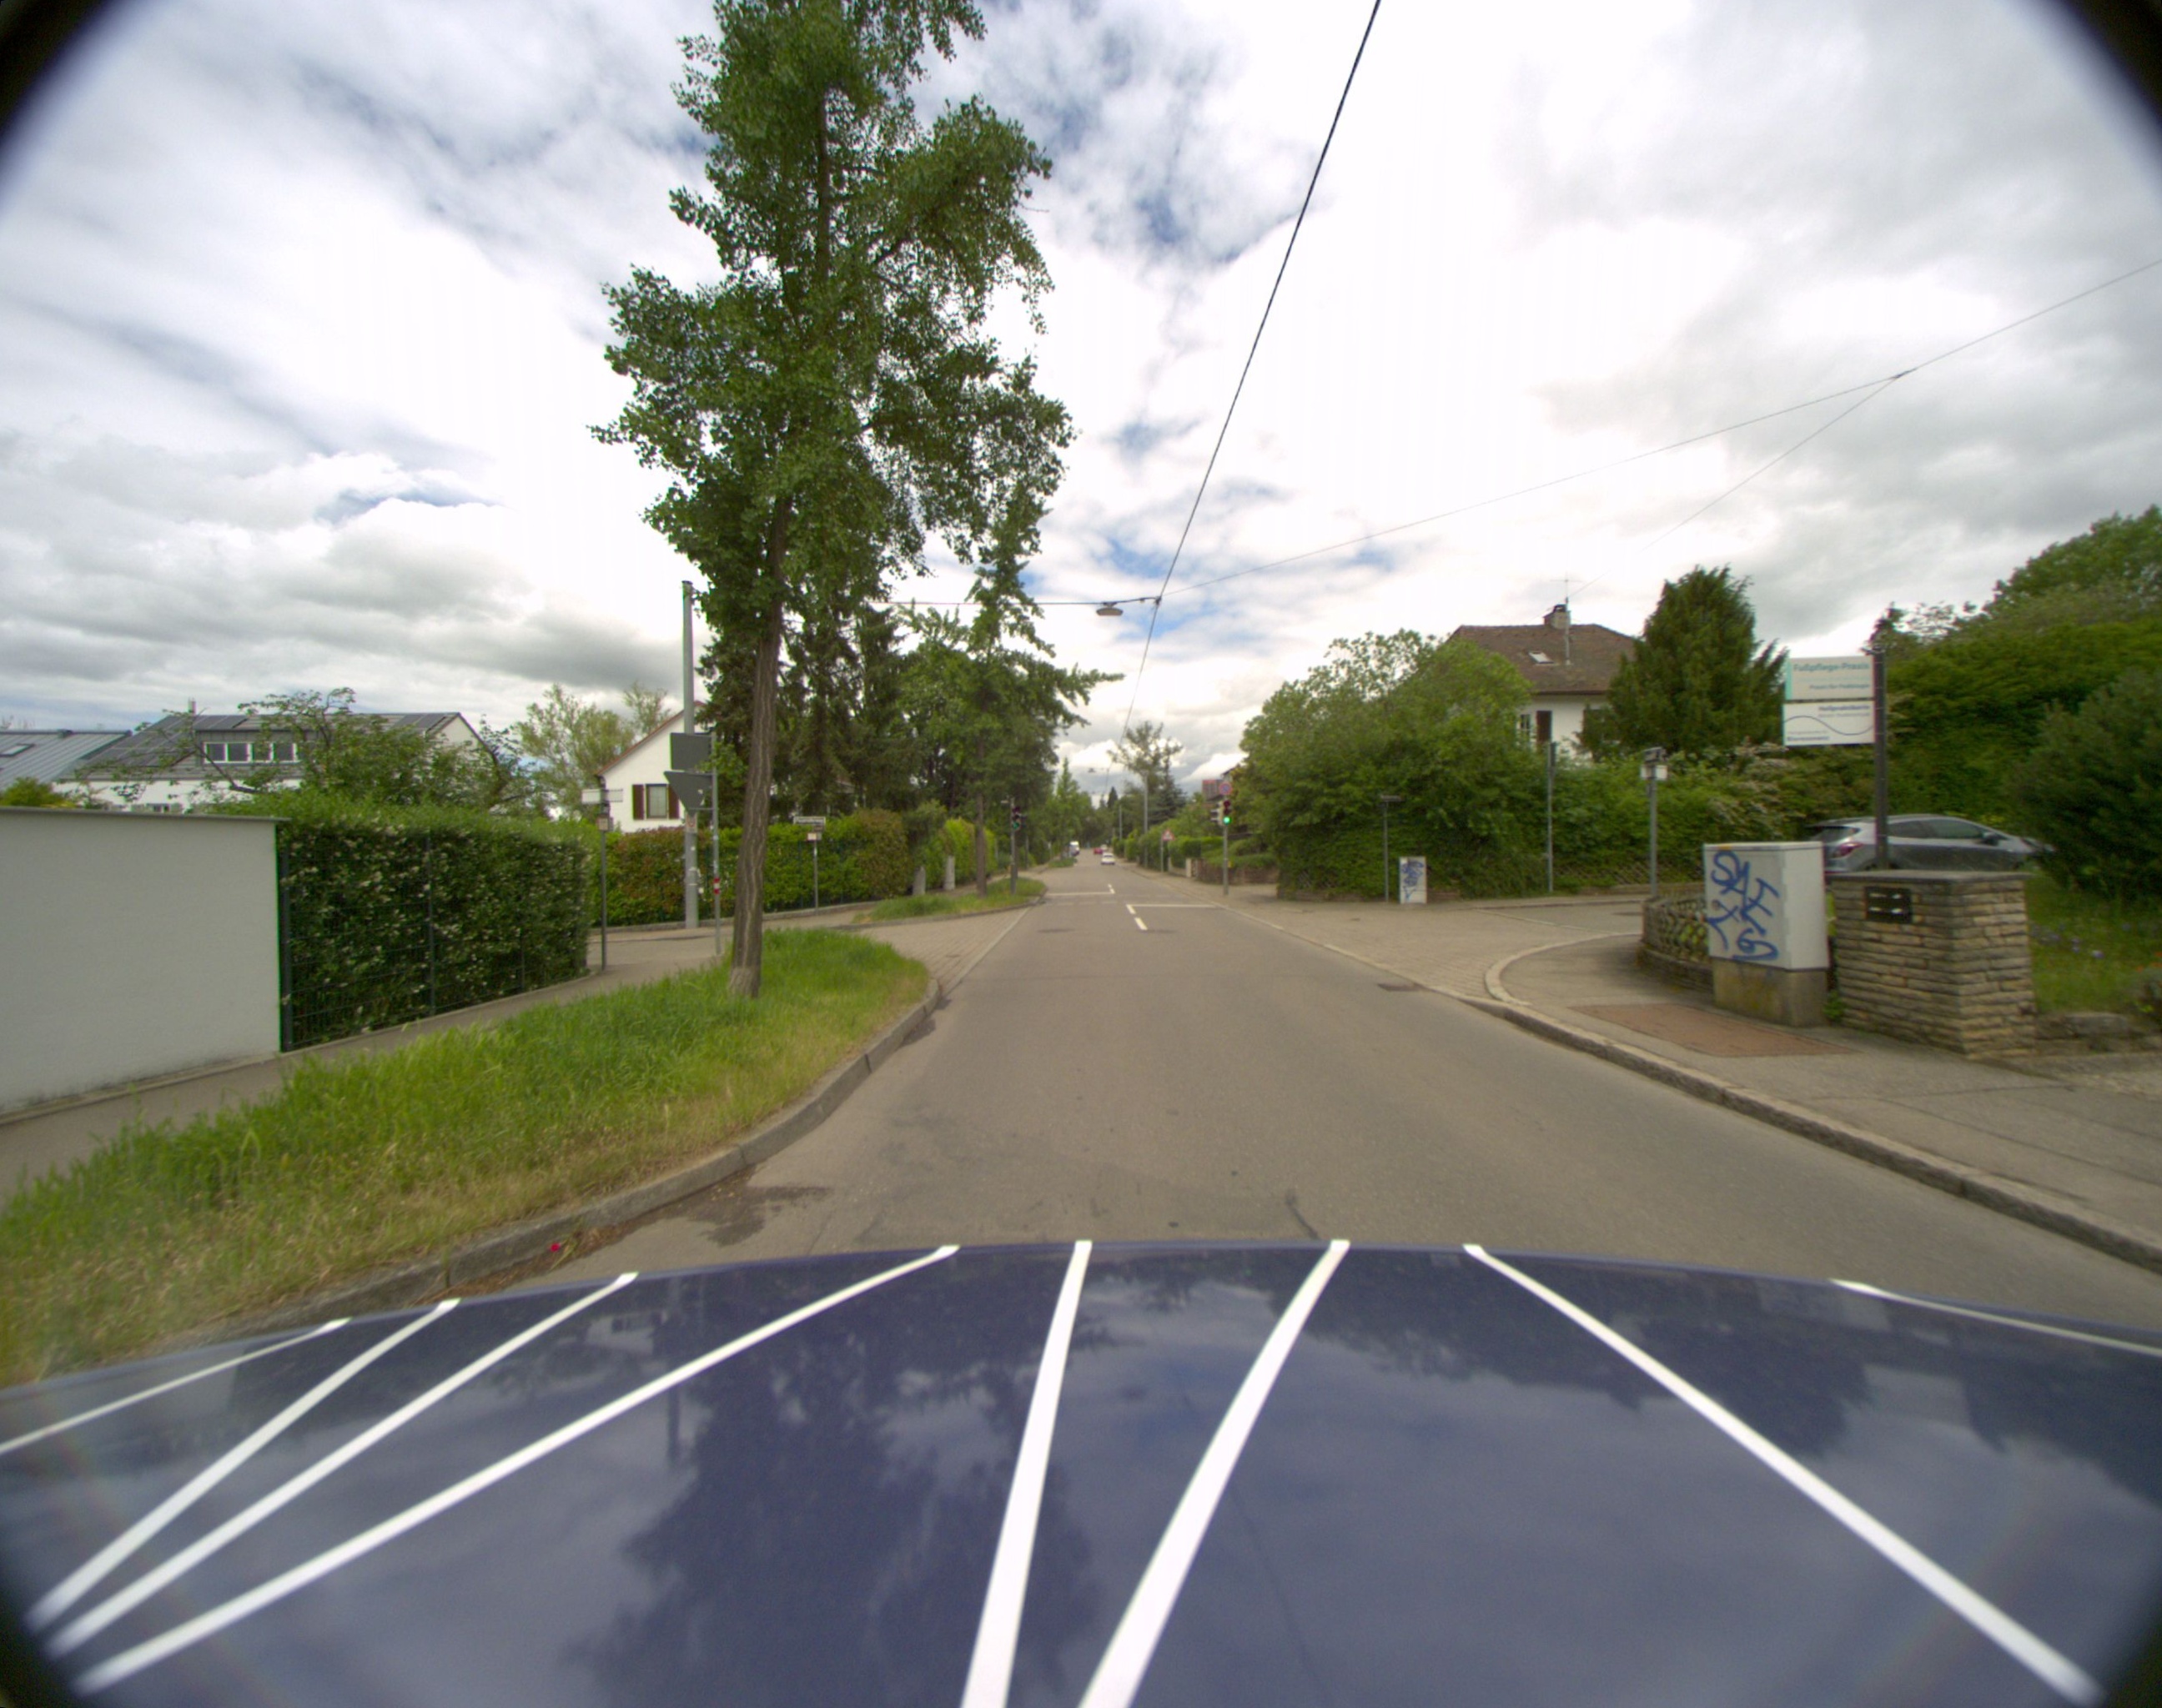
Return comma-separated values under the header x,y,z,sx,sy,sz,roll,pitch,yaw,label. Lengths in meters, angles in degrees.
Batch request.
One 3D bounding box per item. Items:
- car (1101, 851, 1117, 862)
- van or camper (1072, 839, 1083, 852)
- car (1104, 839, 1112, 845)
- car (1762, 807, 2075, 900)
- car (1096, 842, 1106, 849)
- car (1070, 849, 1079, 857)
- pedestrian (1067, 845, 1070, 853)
x,y,z,sx,sy,sz,roll,pitch,yaw,label
3.756,0.295,101.890,1.859,1.443,4.281,1,0,-1,car
-0.704,-1.791,158.999,2.046,2.605,7.035,-2,2,-1,van or camper
6.714,-2.978,191.652,1.810,1.423,4.300,0,1,0,car
16.661,-0.006,15.323,3.995,1.588,1.878,-3,0,6,car
4.232,-1.783,158.949,1.810,1.423,4.117,-3,1,0,car
-1.236,-0.290,145.864,1.683,1.399,4.053,-3,1,1,car
-2.648,-1.099,162.310,0.671,1.689,0.917,1,2,1,pedestrian
